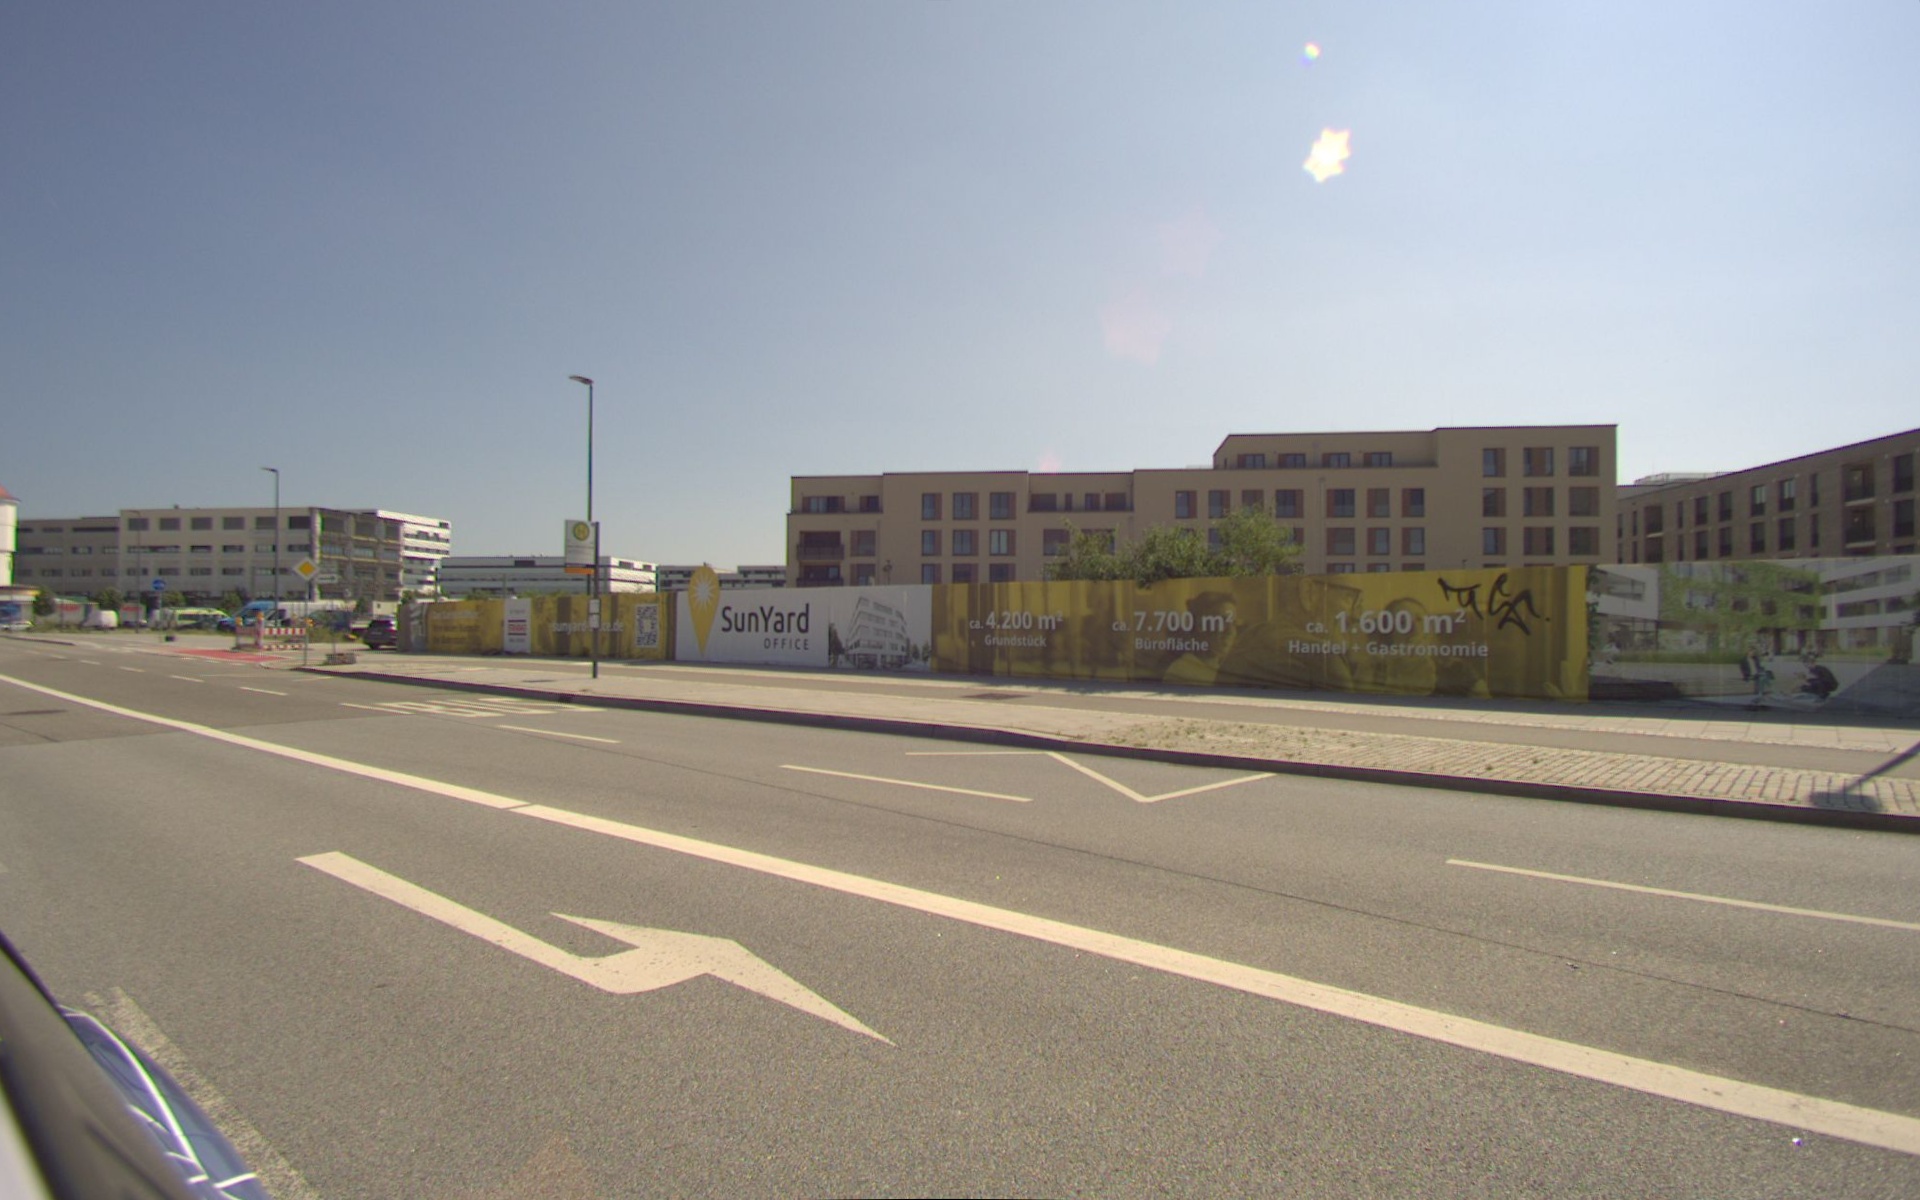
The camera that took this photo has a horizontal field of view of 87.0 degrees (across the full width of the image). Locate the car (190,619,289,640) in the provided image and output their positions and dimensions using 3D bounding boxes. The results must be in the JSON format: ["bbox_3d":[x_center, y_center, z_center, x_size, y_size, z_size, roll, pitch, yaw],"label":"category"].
[{"bbox_3d":[-53.176,2.171,74.782,2.104,1.485,5.597,-2,-1,38],"label":"car"}]

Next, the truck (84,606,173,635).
[{"bbox_3d":[-135.791,3.272,165.444,3.330,4.307,10.843,0,0,28],"label":"truck"}]

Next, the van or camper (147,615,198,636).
[{"bbox_3d":[-101.284,3.289,130.207,2.258,2.682,4.850,-2,-1,40],"label":"van or camper"}]

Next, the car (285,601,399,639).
[{"bbox_3d":[-37.620,1.282,61.729,2.391,2.190,5.393,-1,-3,36],"label":"car"}]

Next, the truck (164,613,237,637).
[{"bbox_3d":[-91.945,3.017,122.569,2.596,2.847,6.579,-2,-1,34],"label":"truck"}]

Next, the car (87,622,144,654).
[{"bbox_3d":[-42.045,1.875,50.339,3.677,1.488,1.590,0,-3,42],"label":"car"}]

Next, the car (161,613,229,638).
[{"bbox_3d":[-58.679,1.983,77.664,3.939,1.918,1.829,2,-3,-43],"label":"car"}]

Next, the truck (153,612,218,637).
[{"bbox_3d":[-97.867,3.070,127.914,2.569,2.923,6.082,0,1,41],"label":"truck"}]

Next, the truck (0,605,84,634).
[{"bbox_3d":[-141.145,2.851,154.499,3.280,4.098,10.899,0,0,22],"label":"truck"}]

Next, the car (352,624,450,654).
[{"bbox_3d":[-26.080,1.813,47.404,1.975,1.328,4.241,0,-2,5],"label":"car"}]

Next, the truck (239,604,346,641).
[{"bbox_3d":[-44.642,1.561,67.789,2.272,2.381,5.512,-1,-3,38],"label":"truck"}]

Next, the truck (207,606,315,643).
[{"bbox_3d":[-50.010,1.809,72.552,2.273,2.563,5.943,-2,-3,40],"label":"truck"}]
